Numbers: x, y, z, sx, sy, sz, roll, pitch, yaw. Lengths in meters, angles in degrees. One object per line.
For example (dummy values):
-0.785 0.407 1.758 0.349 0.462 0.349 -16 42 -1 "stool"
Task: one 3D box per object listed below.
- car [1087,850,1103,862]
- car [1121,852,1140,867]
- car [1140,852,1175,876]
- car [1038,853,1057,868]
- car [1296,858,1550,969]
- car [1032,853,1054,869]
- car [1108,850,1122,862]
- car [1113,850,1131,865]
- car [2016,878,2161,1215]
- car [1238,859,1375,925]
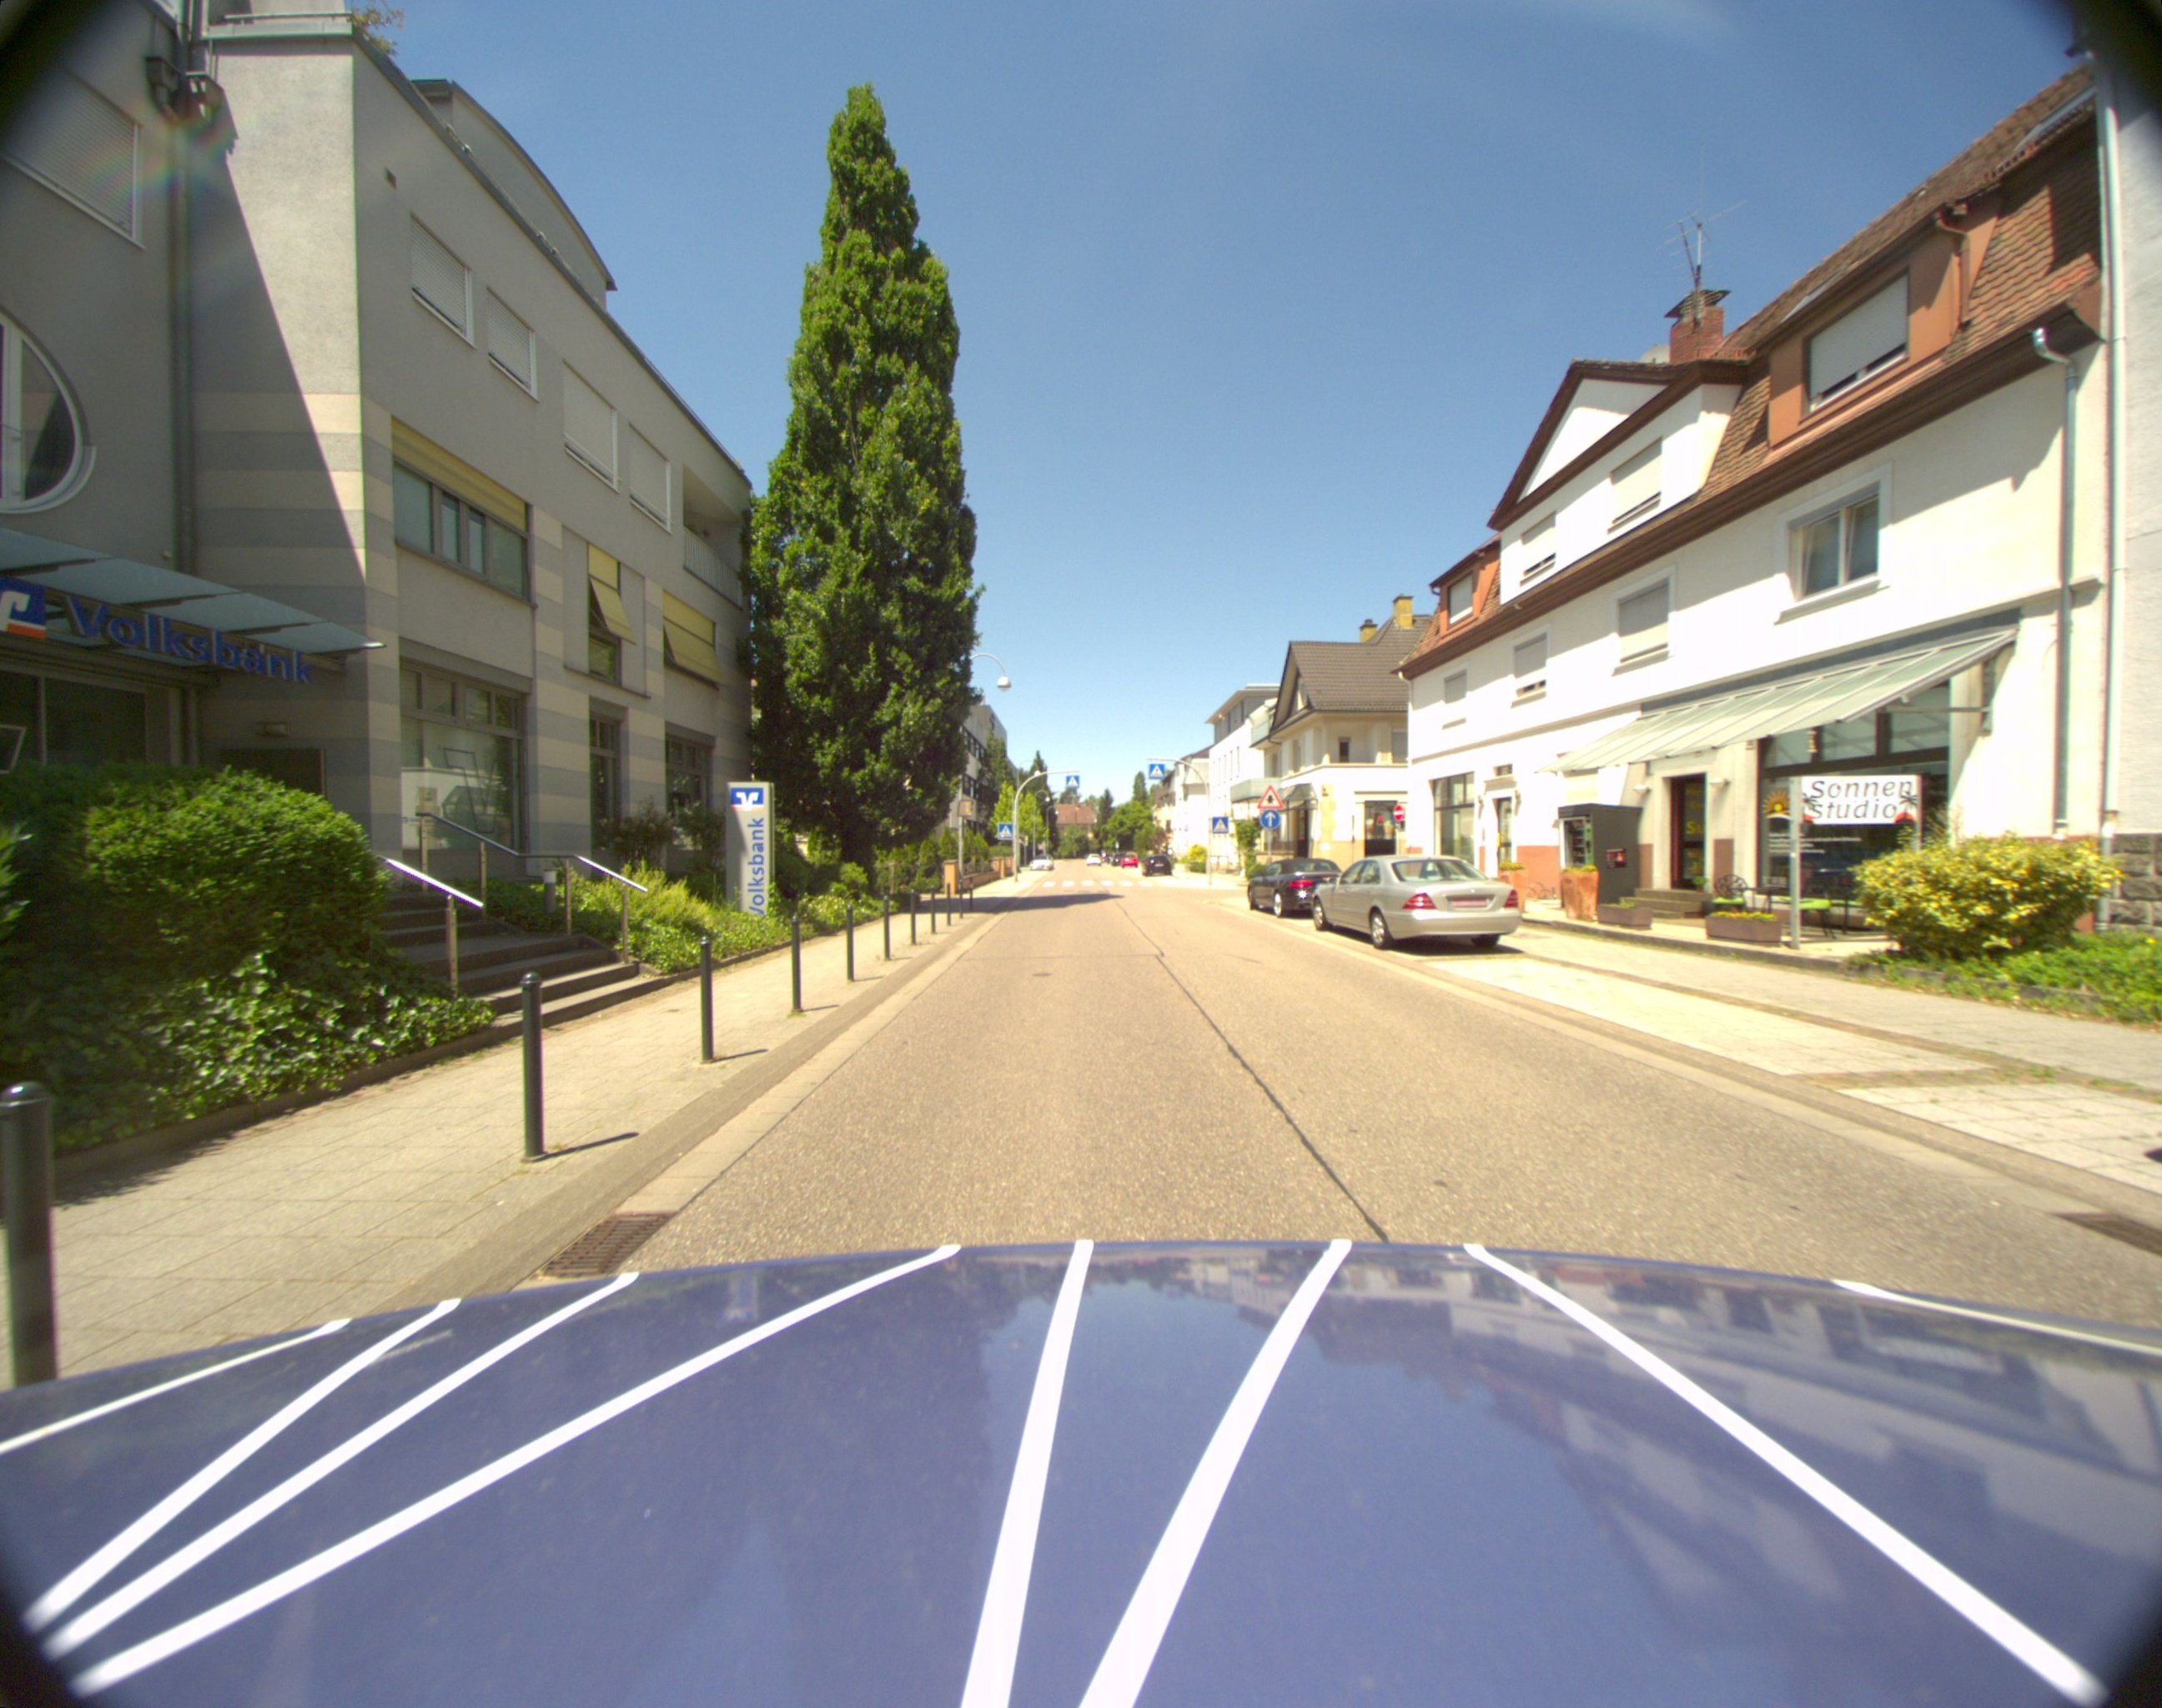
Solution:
1.763 0.249 96.470 1.812 1.473 3.868 1 0 -2 "car"
5.200 0.520 80.462 1.737 1.444 4.259 -3 0 0 "car"
5.271 0.635 52.936 1.921 1.444 5.148 -3 0 0 "car"
-3.438 0.612 78.139 1.715 1.489 3.876 1 0 0 "car"
5.469 0.831 13.136 1.986 1.444 5.357 -1 0 0 "car"
-3.592 0.674 72.931 1.920 1.460 4.879 1 0 -1 "car"
4.986 0.258 111.660 1.925 1.681 4.287 -3 0 1 "car"
4.892 0.395 91.754 1.925 1.577 4.435 -3 0 0 "car"
5.755 0.843 1.414 1.986 1.444 4.867 -1 0 -1 "car"
5.467 0.860 19.206 1.947 1.365 5.097 -1 0 0 "car"
